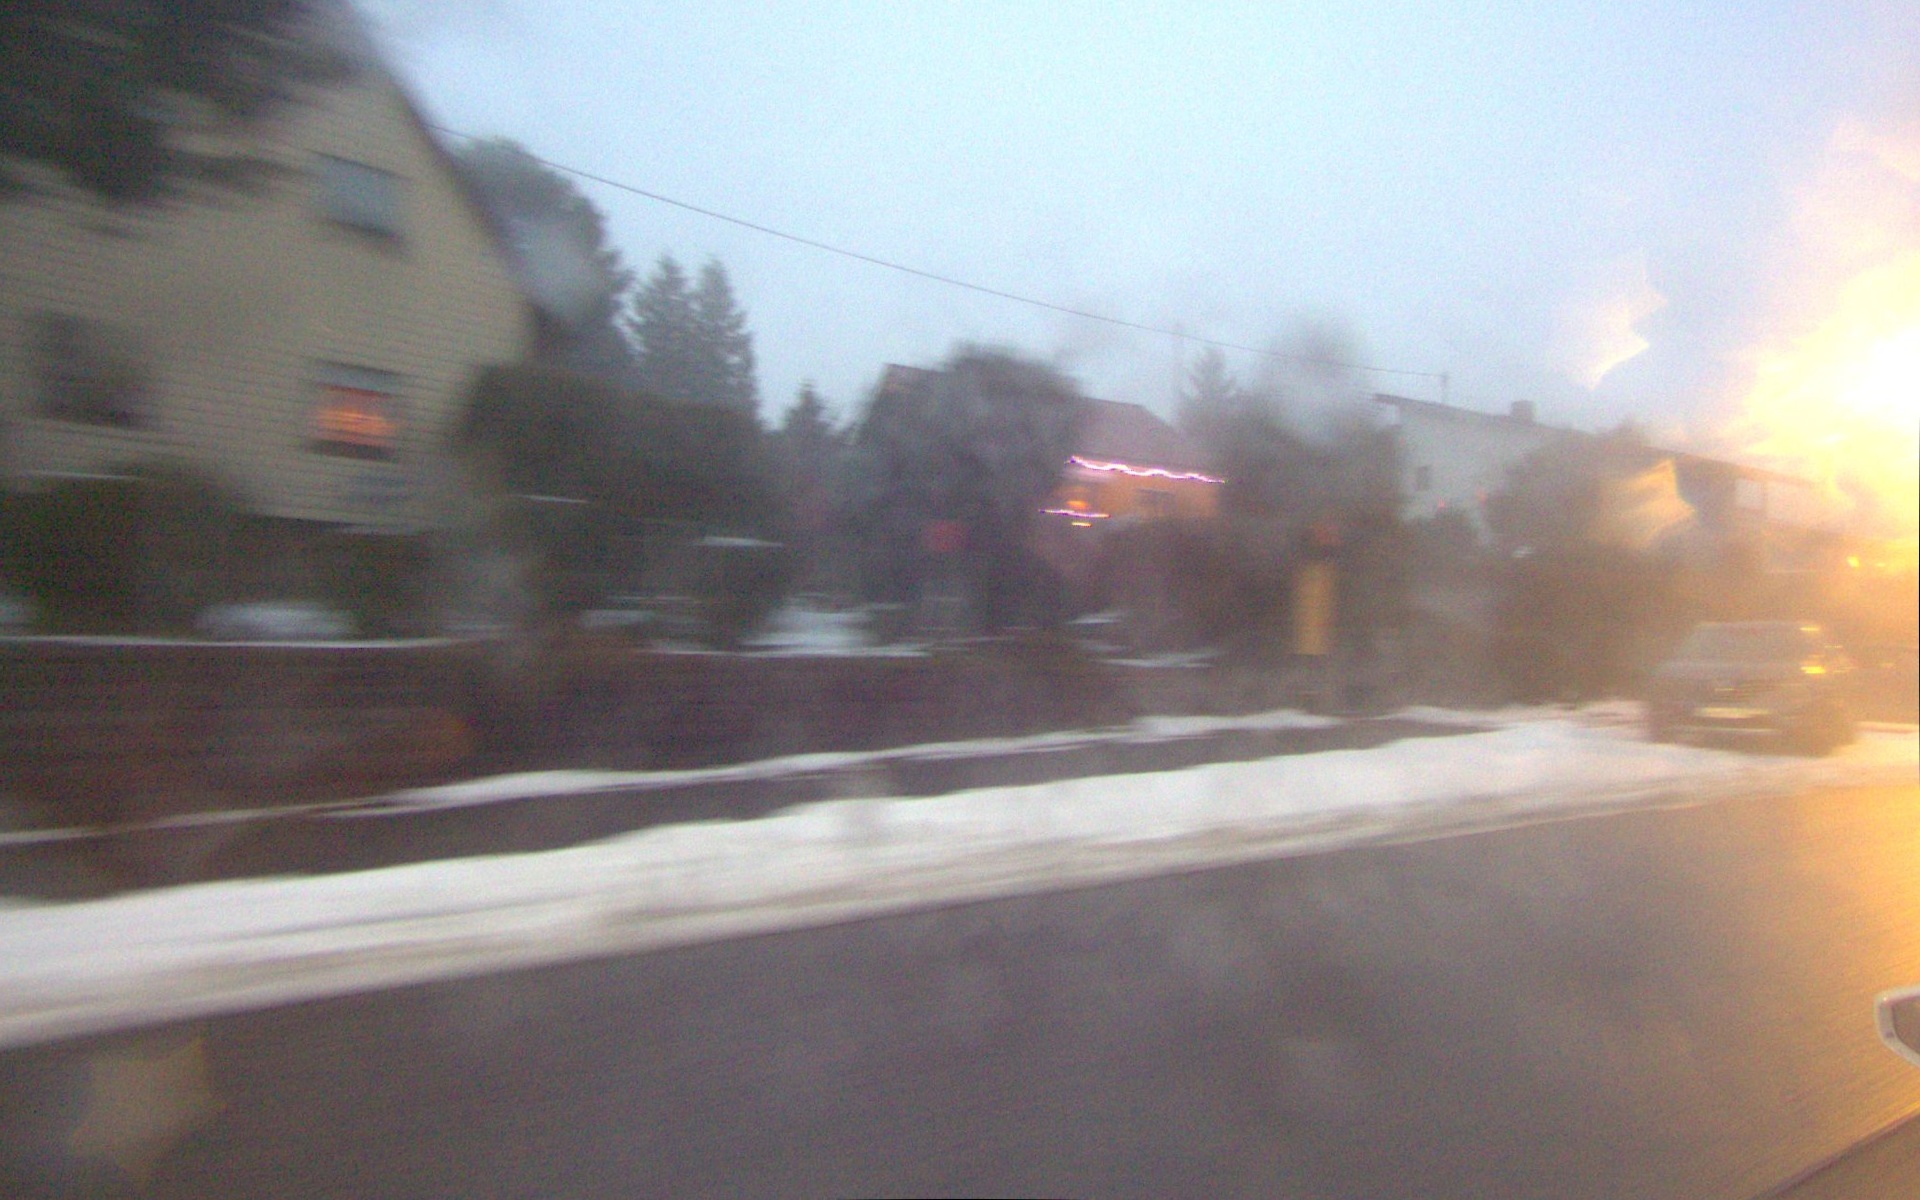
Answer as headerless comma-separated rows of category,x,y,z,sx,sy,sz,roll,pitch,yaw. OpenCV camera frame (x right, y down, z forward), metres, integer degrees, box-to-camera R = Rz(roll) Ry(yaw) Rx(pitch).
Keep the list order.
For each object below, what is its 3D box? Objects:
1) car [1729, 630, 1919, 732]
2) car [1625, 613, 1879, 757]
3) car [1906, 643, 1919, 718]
car,15.696,1.312,16.448,2.088,1.586,4.502,3,-3,-33
car,10.790,1.102,13.533,4.964,1.586,1.975,4,-5,-44
car,20.827,1.575,19.034,1.915,1.490,3.838,2,-3,-29
